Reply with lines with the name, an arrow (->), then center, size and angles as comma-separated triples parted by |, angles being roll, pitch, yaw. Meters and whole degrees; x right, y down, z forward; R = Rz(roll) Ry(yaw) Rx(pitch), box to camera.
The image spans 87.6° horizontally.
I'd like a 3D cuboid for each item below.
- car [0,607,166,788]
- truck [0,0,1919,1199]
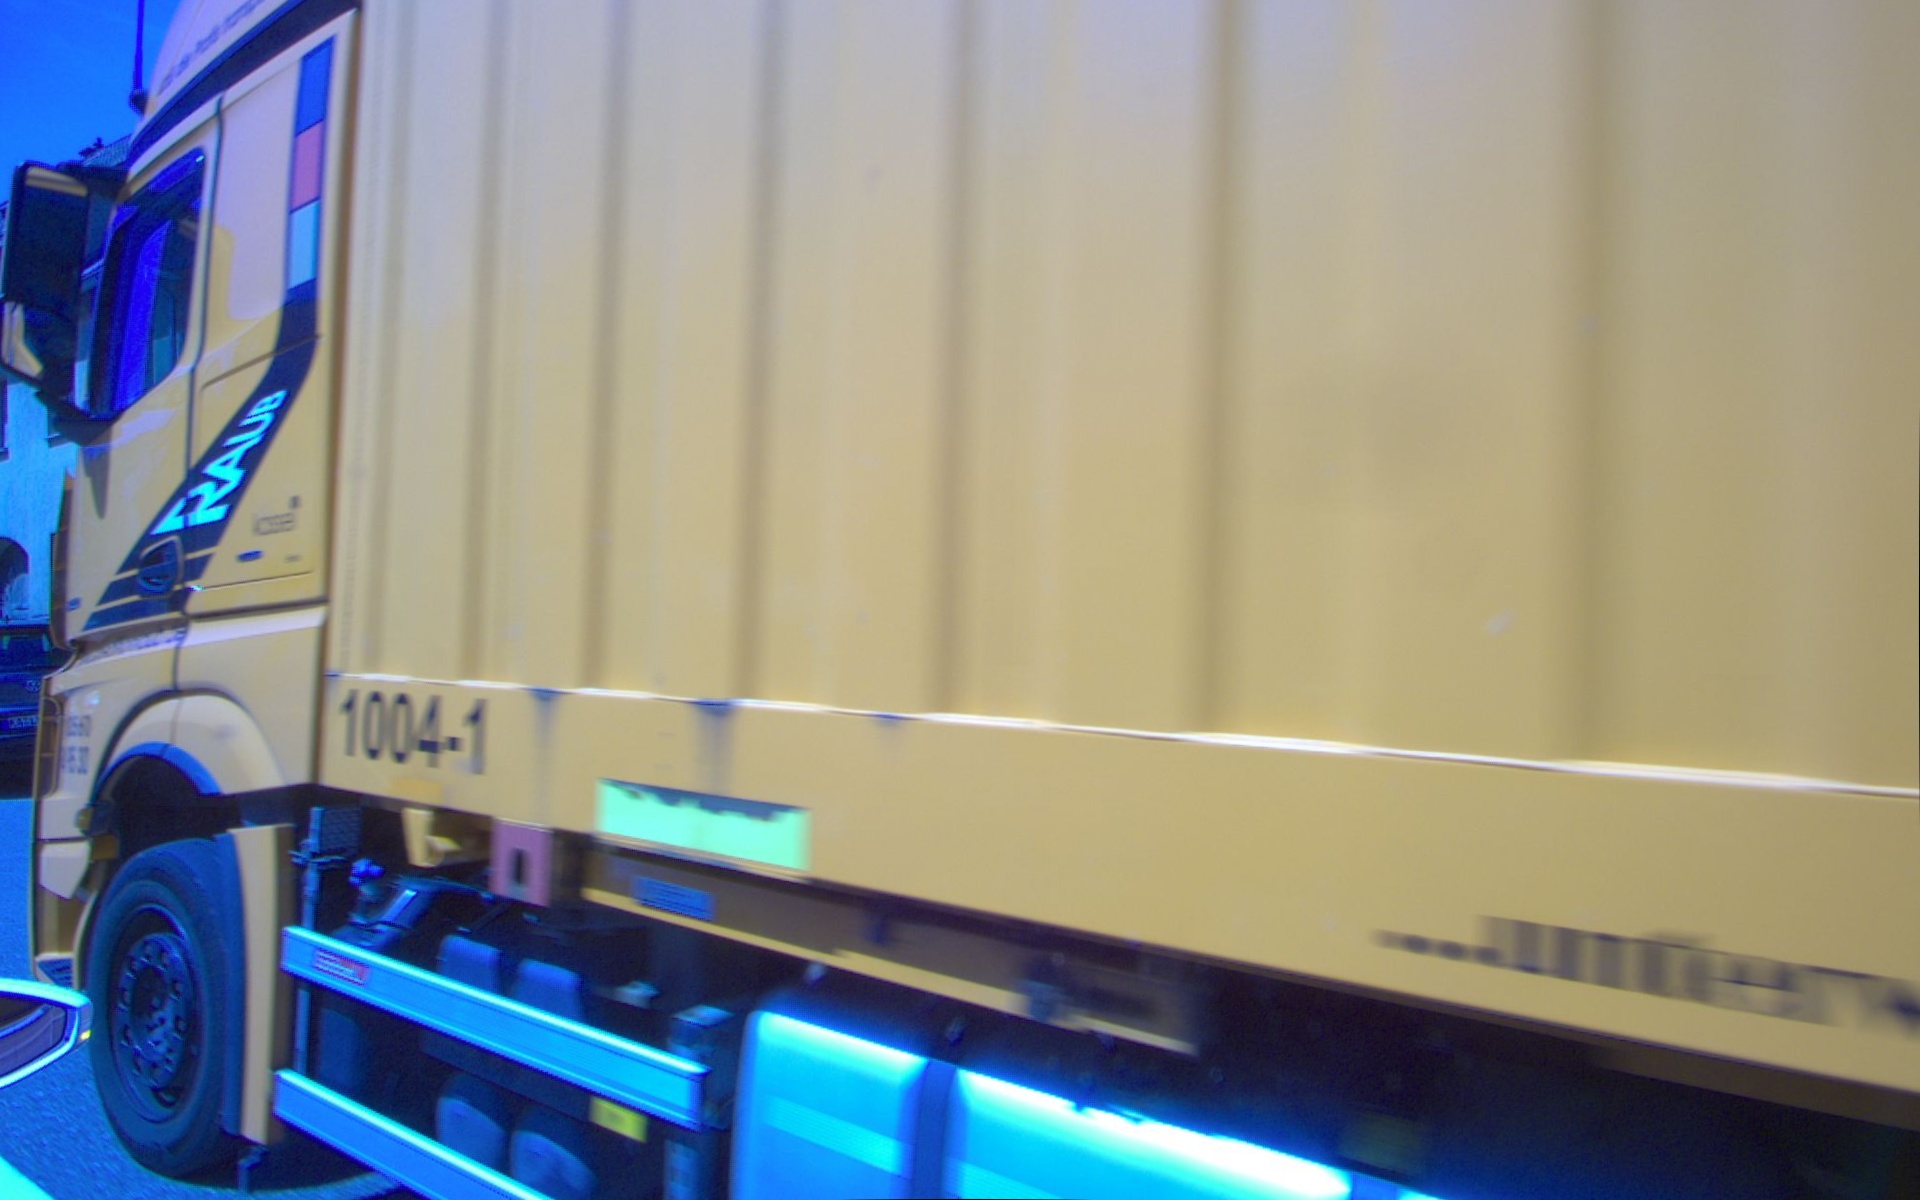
car -> -10.758, 0.977, 11.052 | 4.045, 1.731, 1.988 | -1, 0, 34
truck -> 1.244, -0.489, 2.134 | 9.853, 3.995, 2.604 | -1, -2, 33
